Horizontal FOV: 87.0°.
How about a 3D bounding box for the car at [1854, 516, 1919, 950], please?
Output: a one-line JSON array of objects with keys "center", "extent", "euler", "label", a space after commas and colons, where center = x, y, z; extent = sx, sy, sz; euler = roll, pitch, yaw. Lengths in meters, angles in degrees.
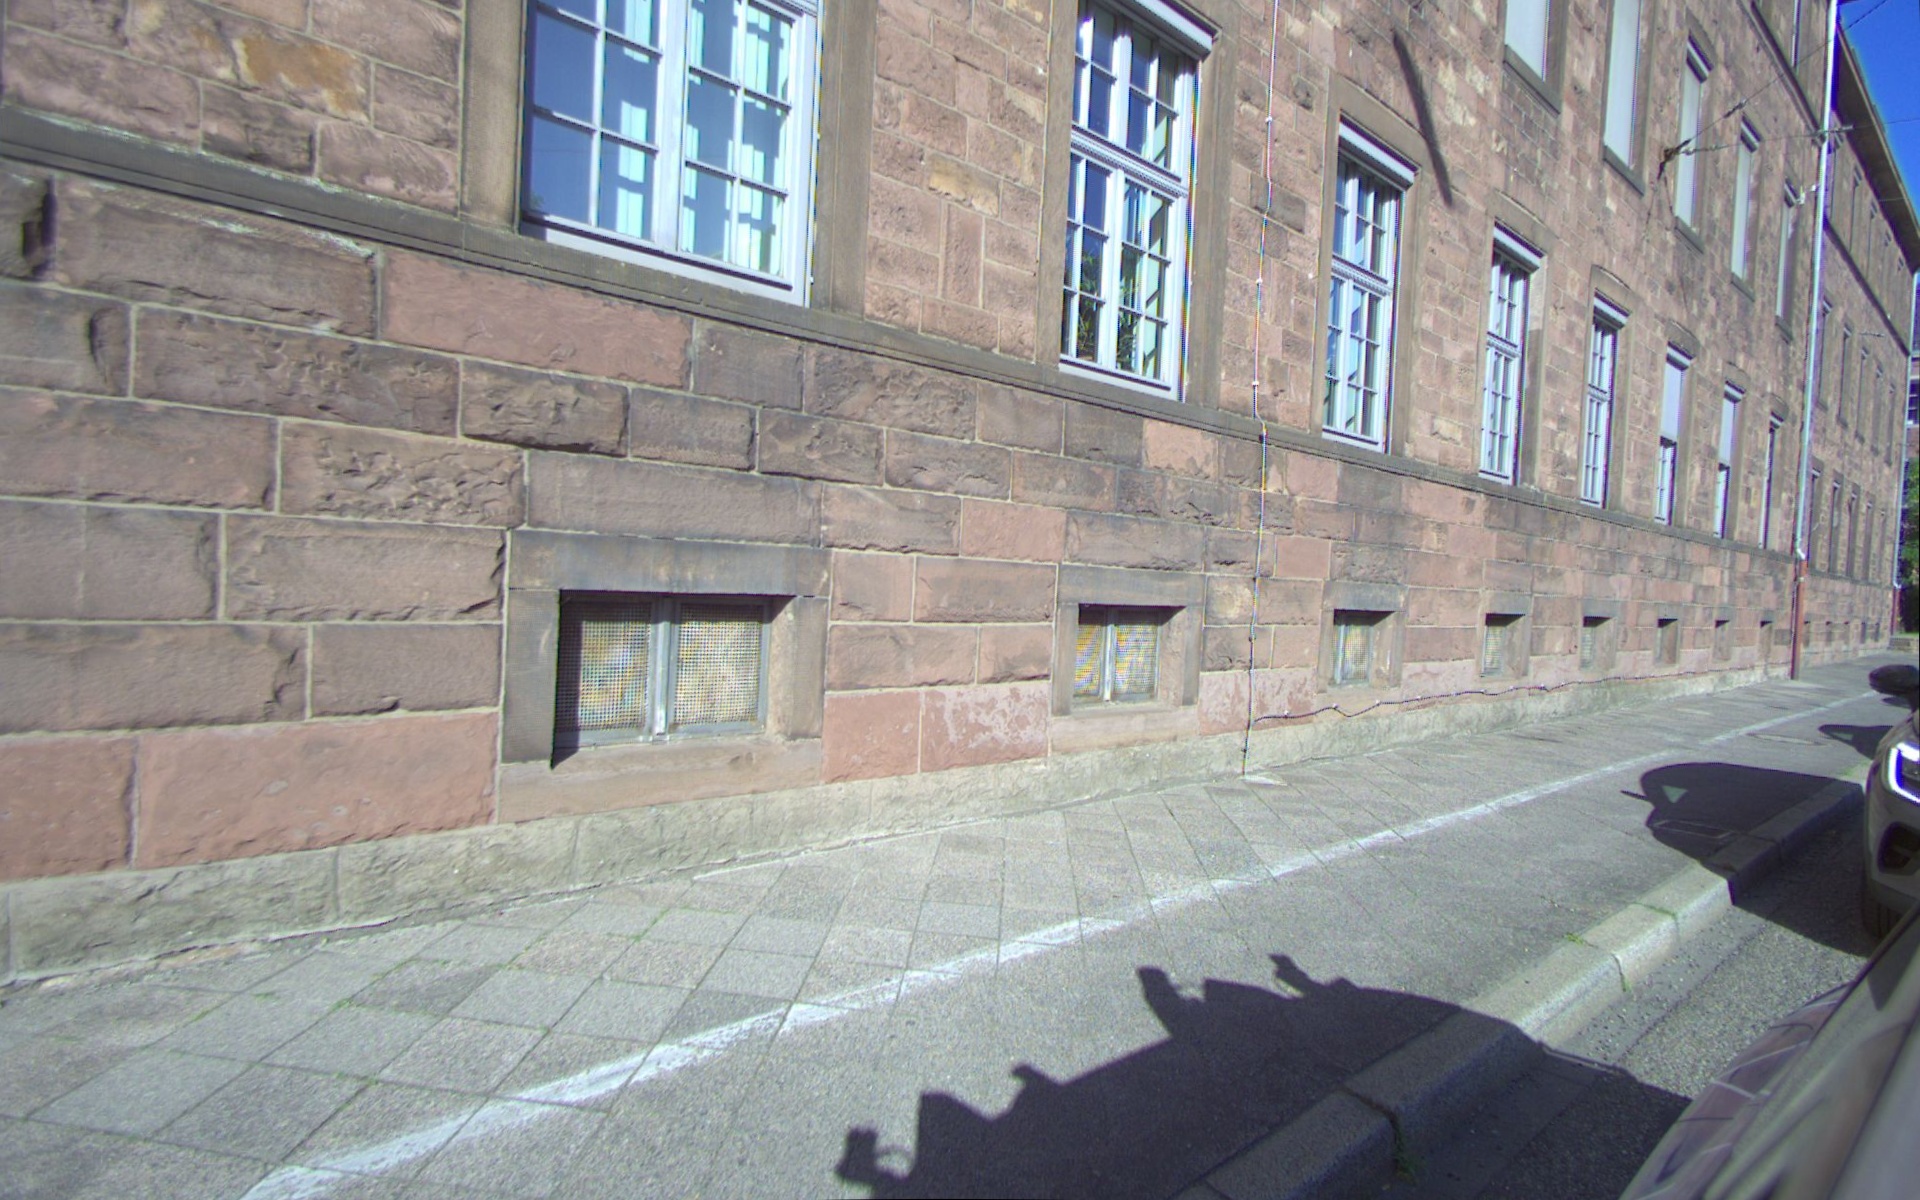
[{"center": [5.451, 0.537, 4.539], "extent": [3.735, 1.624, 1.793], "euler": [1, 1, -43], "label": "car"}]
